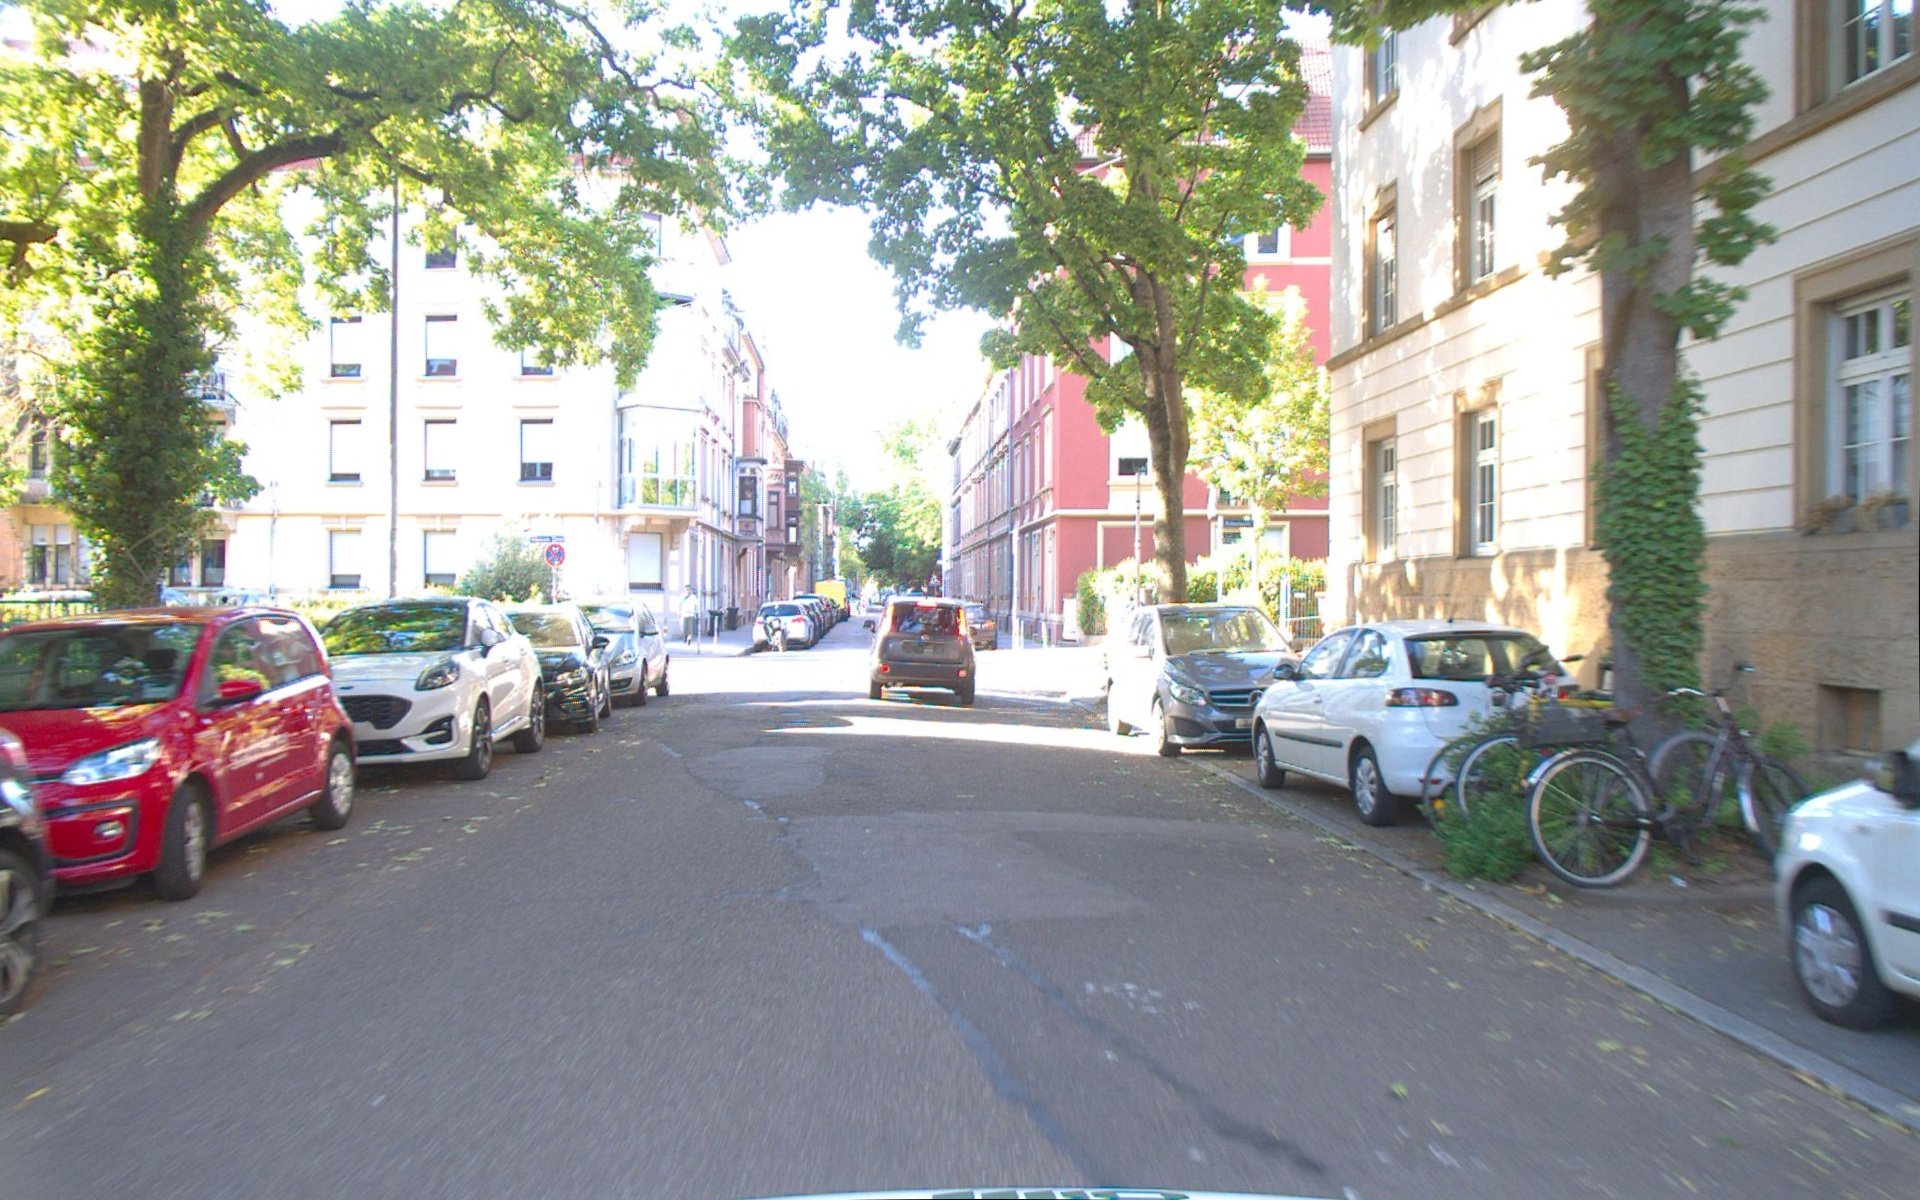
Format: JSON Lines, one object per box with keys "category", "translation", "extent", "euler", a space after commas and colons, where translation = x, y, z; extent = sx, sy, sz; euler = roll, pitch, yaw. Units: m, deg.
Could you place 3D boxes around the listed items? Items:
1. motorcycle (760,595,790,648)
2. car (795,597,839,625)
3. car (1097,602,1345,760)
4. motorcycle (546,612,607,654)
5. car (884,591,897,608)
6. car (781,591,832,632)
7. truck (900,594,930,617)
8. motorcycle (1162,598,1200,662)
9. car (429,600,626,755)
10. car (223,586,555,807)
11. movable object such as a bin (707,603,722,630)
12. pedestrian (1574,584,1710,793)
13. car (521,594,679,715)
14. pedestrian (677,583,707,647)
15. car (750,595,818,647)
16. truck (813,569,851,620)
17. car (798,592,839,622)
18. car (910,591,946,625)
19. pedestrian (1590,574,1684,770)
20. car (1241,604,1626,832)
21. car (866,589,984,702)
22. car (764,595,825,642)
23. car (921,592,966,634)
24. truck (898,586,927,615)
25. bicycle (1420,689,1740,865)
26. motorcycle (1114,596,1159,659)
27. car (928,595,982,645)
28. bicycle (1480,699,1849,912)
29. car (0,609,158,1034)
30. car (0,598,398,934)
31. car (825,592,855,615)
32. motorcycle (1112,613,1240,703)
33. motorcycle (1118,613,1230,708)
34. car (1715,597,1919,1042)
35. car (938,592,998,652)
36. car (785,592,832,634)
{"category": "motorcycle", "translation": [-5.417, 0.612, 48.371], "extent": [0.684, 1.486, 1.745], "euler": [-1, 0, -12]}
{"category": "car", "translation": [-7.120, 0.538, 82.460], "extent": [1.922, 1.246, 3.923], "euler": [-3, 1, -2]}
{"category": "car", "translation": [2.821, 0.817, 18.890], "extent": [1.754, 1.578, 4.404], "euler": [0, 0, -6]}
{"category": "motorcycle", "translation": [-9.863, 0.838, 42.605], "extent": [0.675, 1.002, 1.822], "euler": [4, 2, 17]}
{"category": "car", "translation": [-7.253, -0.058, 171.812], "extent": [1.340, 1.646, 3.412], "euler": [0, 0, -2]}
{"category": "car", "translation": [-6.285, 0.458, 68.045], "extent": [1.792, 1.504, 3.923], "euler": [-3, 0, -2]}
{"category": "truck", "translation": [-3.105, 0.372, 112.798], "extent": [1.954, 1.482, 3.998], "euler": [0, 0, -3]}
{"category": "motorcycle", "translation": [5.408, 0.720, 40.625], "extent": [0.809, 1.429, 2.558], "euler": [0, 2, 5]}
{"category": "car", "translation": [-5.052, 0.822, 19.857], "extent": [1.714, 1.500, 4.455], "euler": [-4, 1, -8]}
{"category": "car", "translation": [-4.917, 0.736, 14.871], "extent": [1.790, 1.581, 4.129], "euler": [-4, 0, -5]}
{"category": "movable object such as a bin", "translation": [-8.806, 0.602, 59.380], "extent": [0.502, 0.969, 0.500], "euler": [0, 0, -6]}
{"category": "pedestrian", "translation": [5.816, 0.732, 14.147], "extent": [0.762, 1.724, 0.874], "euler": [1, 0, -3]}
{"category": "car", "translation": [-5.333, 0.749, 24.947], "extent": [1.663, 1.577, 3.916], "euler": [-3, 1, -4]}
{"category": "pedestrian", "translation": [-8.011, 0.437, 49.403], "extent": [0.707, 1.871, 0.627], "euler": [1, 0, 8]}
{"category": "car", "translation": [-5.445, 0.619, 51.670], "extent": [1.761, 1.456, 3.923], "euler": [-3, 0, -2]}
{"category": "truck", "translation": [-8.047, -0.369, 104.193], "extent": [2.029, 2.976, 5.066], "euler": [-4, 0, -2]}
{"category": "car", "translation": [-7.681, 0.365, 90.090], "extent": [1.922, 1.504, 3.923], "euler": [-3, 0, -2]}
{"category": "car", "translation": [-1.559, 0.353, 78.625], "extent": [1.629, 1.531, 3.755], "euler": [1, 0, -2]}
{"category": "pedestrian", "translation": [6.156, 0.638, 15.067], "extent": [0.480, 1.735, 0.756], "euler": [-1, 0, -4]}
{"category": "car", "translation": [3.561, 0.797, 13.174], "extent": [1.580, 1.504, 3.864], "euler": [0, 0, -7]}
{"category": "car", "translation": [-0.600, 0.660, 25.566], "extent": [1.601, 1.577, 3.261], "euler": [2, 0, -4]}
{"category": "car", "translation": [-5.644, 0.604, 56.750], "extent": [1.741, 1.437, 3.923], "euler": [-3, 0, -2]}
{"category": "car", "translation": [-0.673, 0.492, 64.984], "extent": [1.629, 1.531, 3.755], "euler": [1, 0, -2]}
{"category": "truck", "translation": [-3.417, 0.017, 118.167], "extent": [1.954, 2.027, 3.998], "euler": [0, 0, -3]}
{"category": "bicycle", "translation": [3.778, 1.064, 10.154], "extent": [1.681, 0.966, 0.733], "euler": [-1, 0, -3]}
{"category": "motorcycle", "translation": [4.413, 0.660, 41.220], "extent": [0.998, 1.428, 2.194], "euler": [0, 2, 9]}
{"category": "car", "translation": [-0.184, 0.619, 53.999], "extent": [1.629, 1.531, 3.755], "euler": [1, 0, -2]}
{"category": "bicycle", "translation": [3.776, 1.093, 8.930], "extent": [1.734, 1.057, 0.606], "euler": [1, 0, -3]}
{"category": "car", "translation": [-4.336, 0.829, 4.737], "extent": [1.961, 1.483, 4.603], "euler": [-2, 0, -3]}
{"category": "car", "translation": [-4.678, 0.786, 9.625], "extent": [1.570, 1.485, 4.025], "euler": [-3, 1, -3]}
{"category": "car", "translation": [-8.616, 0.235, 119.441], "extent": [1.922, 1.504, 3.923], "euler": [-3, 0, -2]}
{"category": "motorcycle", "translation": [3.185, 0.860, 24.361], "extent": [1.811, 1.288, 0.505], "euler": [-1, 0, 11]}
{"category": "motorcycle", "translation": [3.035, 0.848, 23.541], "extent": [1.473, 1.288, 0.619], "euler": [-1, 0, -4]}
{"category": "car", "translation": [4.083, 0.763, 5.421], "extent": [1.489, 1.537, 3.542], "euler": [0, 0, -2]}
{"category": "car", "translation": [0.203, 0.626, 49.522], "extent": [1.629, 1.698, 3.755], "euler": [1, 0, -2]}
{"category": "car", "translation": [-6.670, 0.549, 73.187], "extent": [1.739, 1.728, 3.923], "euler": [-3, 0, -2]}
